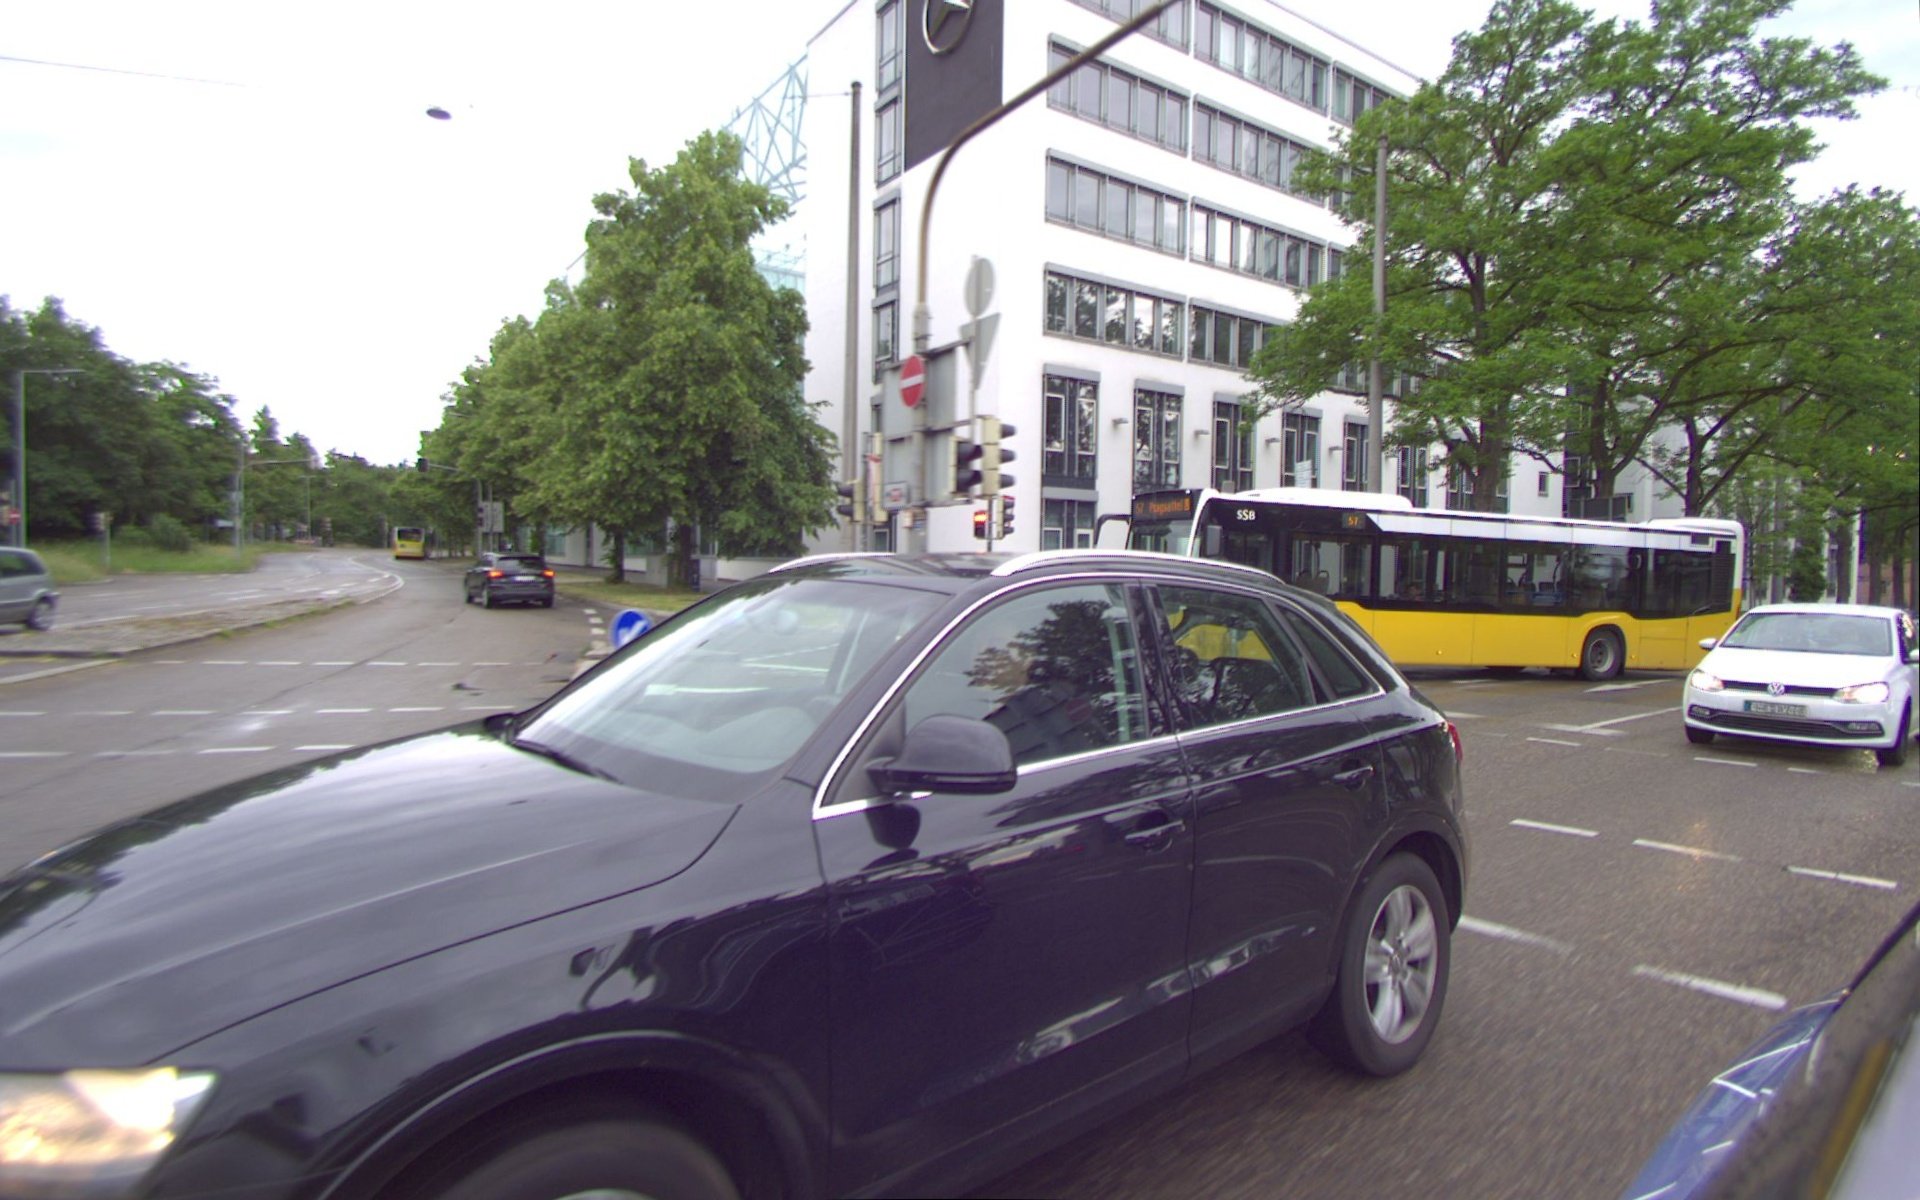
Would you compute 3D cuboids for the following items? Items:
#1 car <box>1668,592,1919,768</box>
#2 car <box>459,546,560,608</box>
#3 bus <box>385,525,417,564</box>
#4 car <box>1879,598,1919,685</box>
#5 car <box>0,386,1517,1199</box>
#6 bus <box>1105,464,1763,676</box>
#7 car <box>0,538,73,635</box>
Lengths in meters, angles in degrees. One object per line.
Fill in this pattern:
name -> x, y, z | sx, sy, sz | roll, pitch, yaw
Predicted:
car -> 8.901, 0.668, 10.409 | 3.744, 1.449, 1.744 | 0, 1, -40
car -> -12.734, -0.705, 28.477 | 1.836, 1.515, 4.154 | -2, 5, -35
bus -> -53.767, -5.298, 97.332 | 2.292, 3.606, 6.501 | 0, 2, -32
car -> 17.412, 0.666, 17.404 | 4.256, 1.371, 1.876 | -1, 1, -41
car -> -0.220, 0.565, 2.928 | 4.040, 1.615, 1.888 | 0, 1, -40
bus -> 8.656, -0.397, 18.230 | 11.889, 3.192, 2.741 | 1, 0, -16
car -> -16.643, -0.196, 16.344 | 1.832, 1.588, 4.071 | -2, 2, -15
